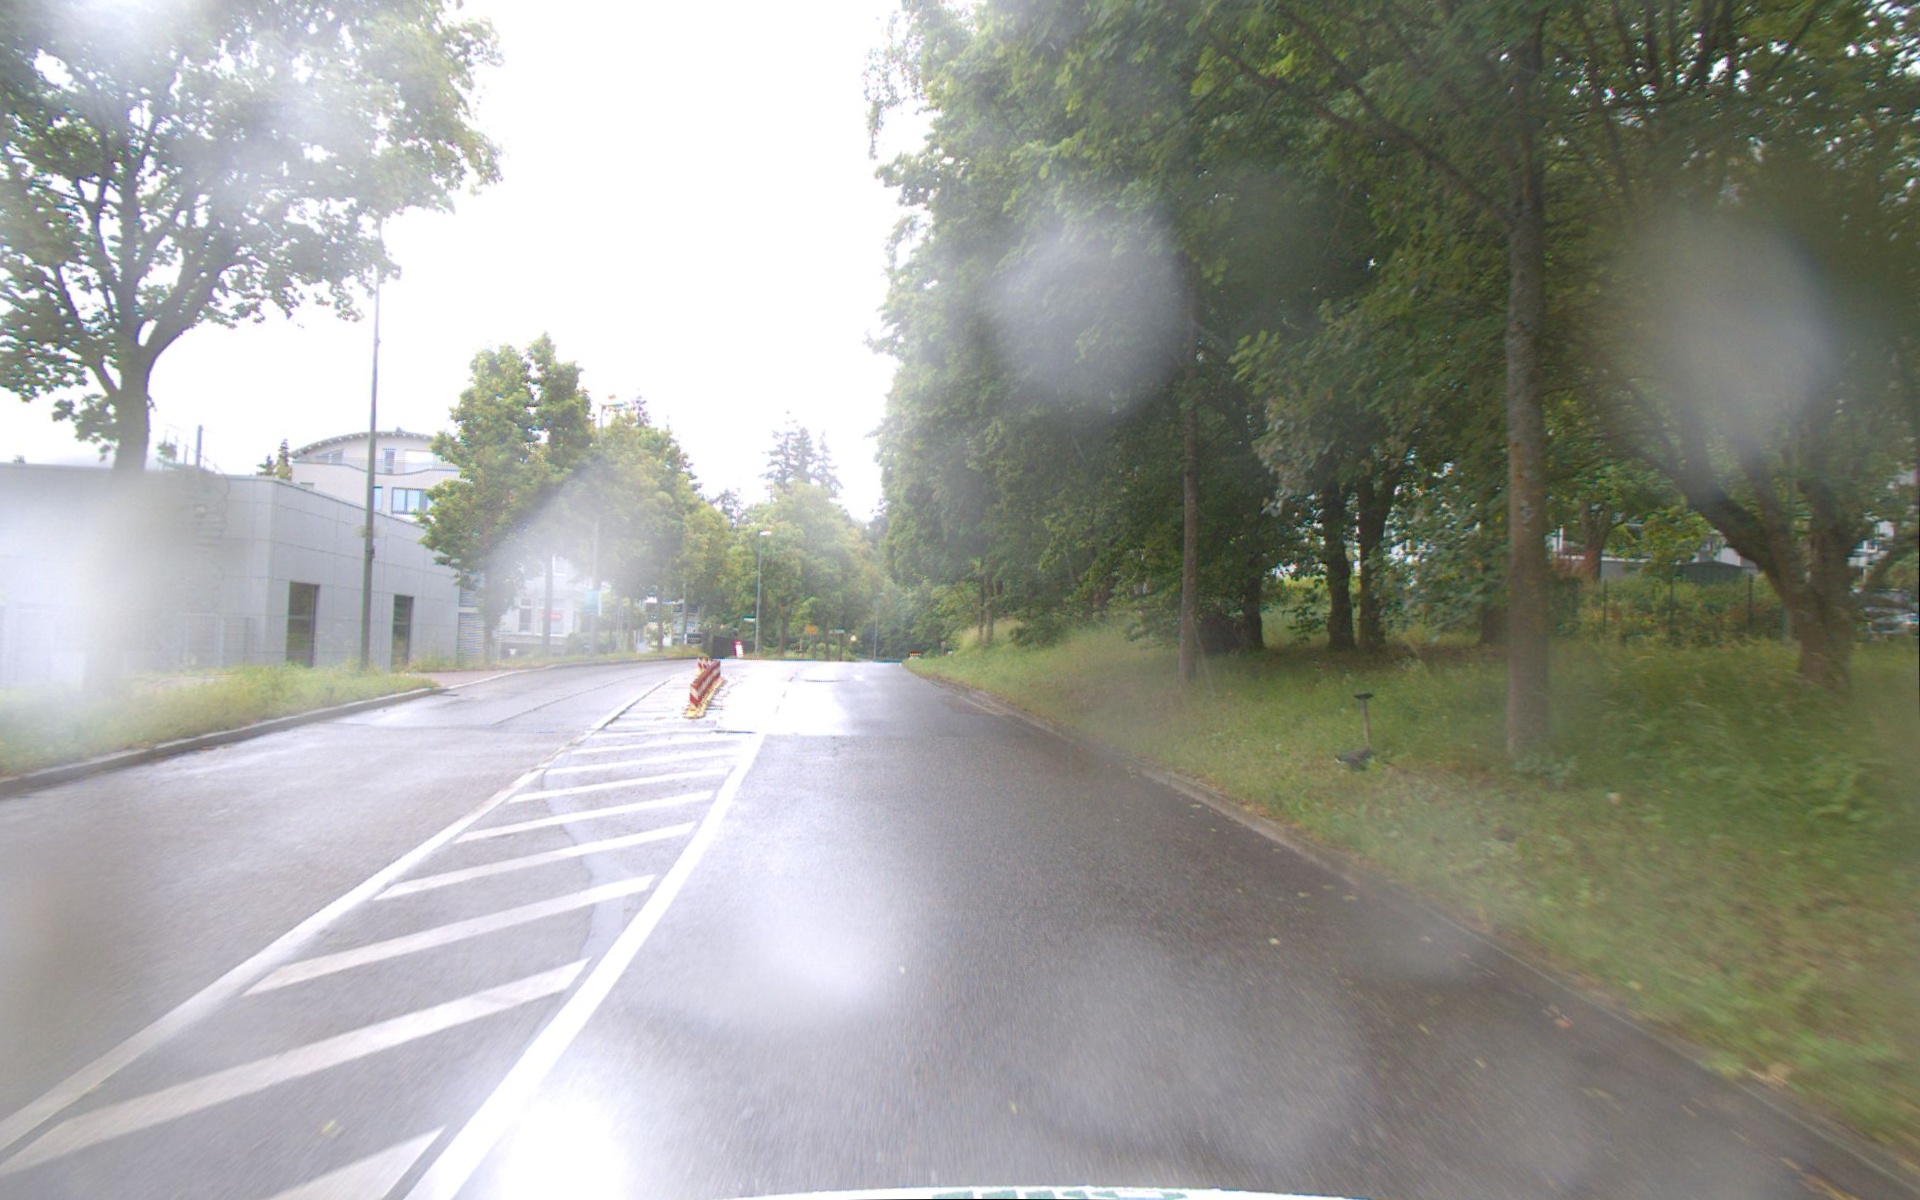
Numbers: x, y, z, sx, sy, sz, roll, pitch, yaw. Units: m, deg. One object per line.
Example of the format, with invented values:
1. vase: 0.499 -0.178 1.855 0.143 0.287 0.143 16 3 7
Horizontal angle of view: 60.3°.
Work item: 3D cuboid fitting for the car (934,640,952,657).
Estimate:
1. car: -1.673 4.799 163.365 1.701 1.537 3.998 0 -3 -2
